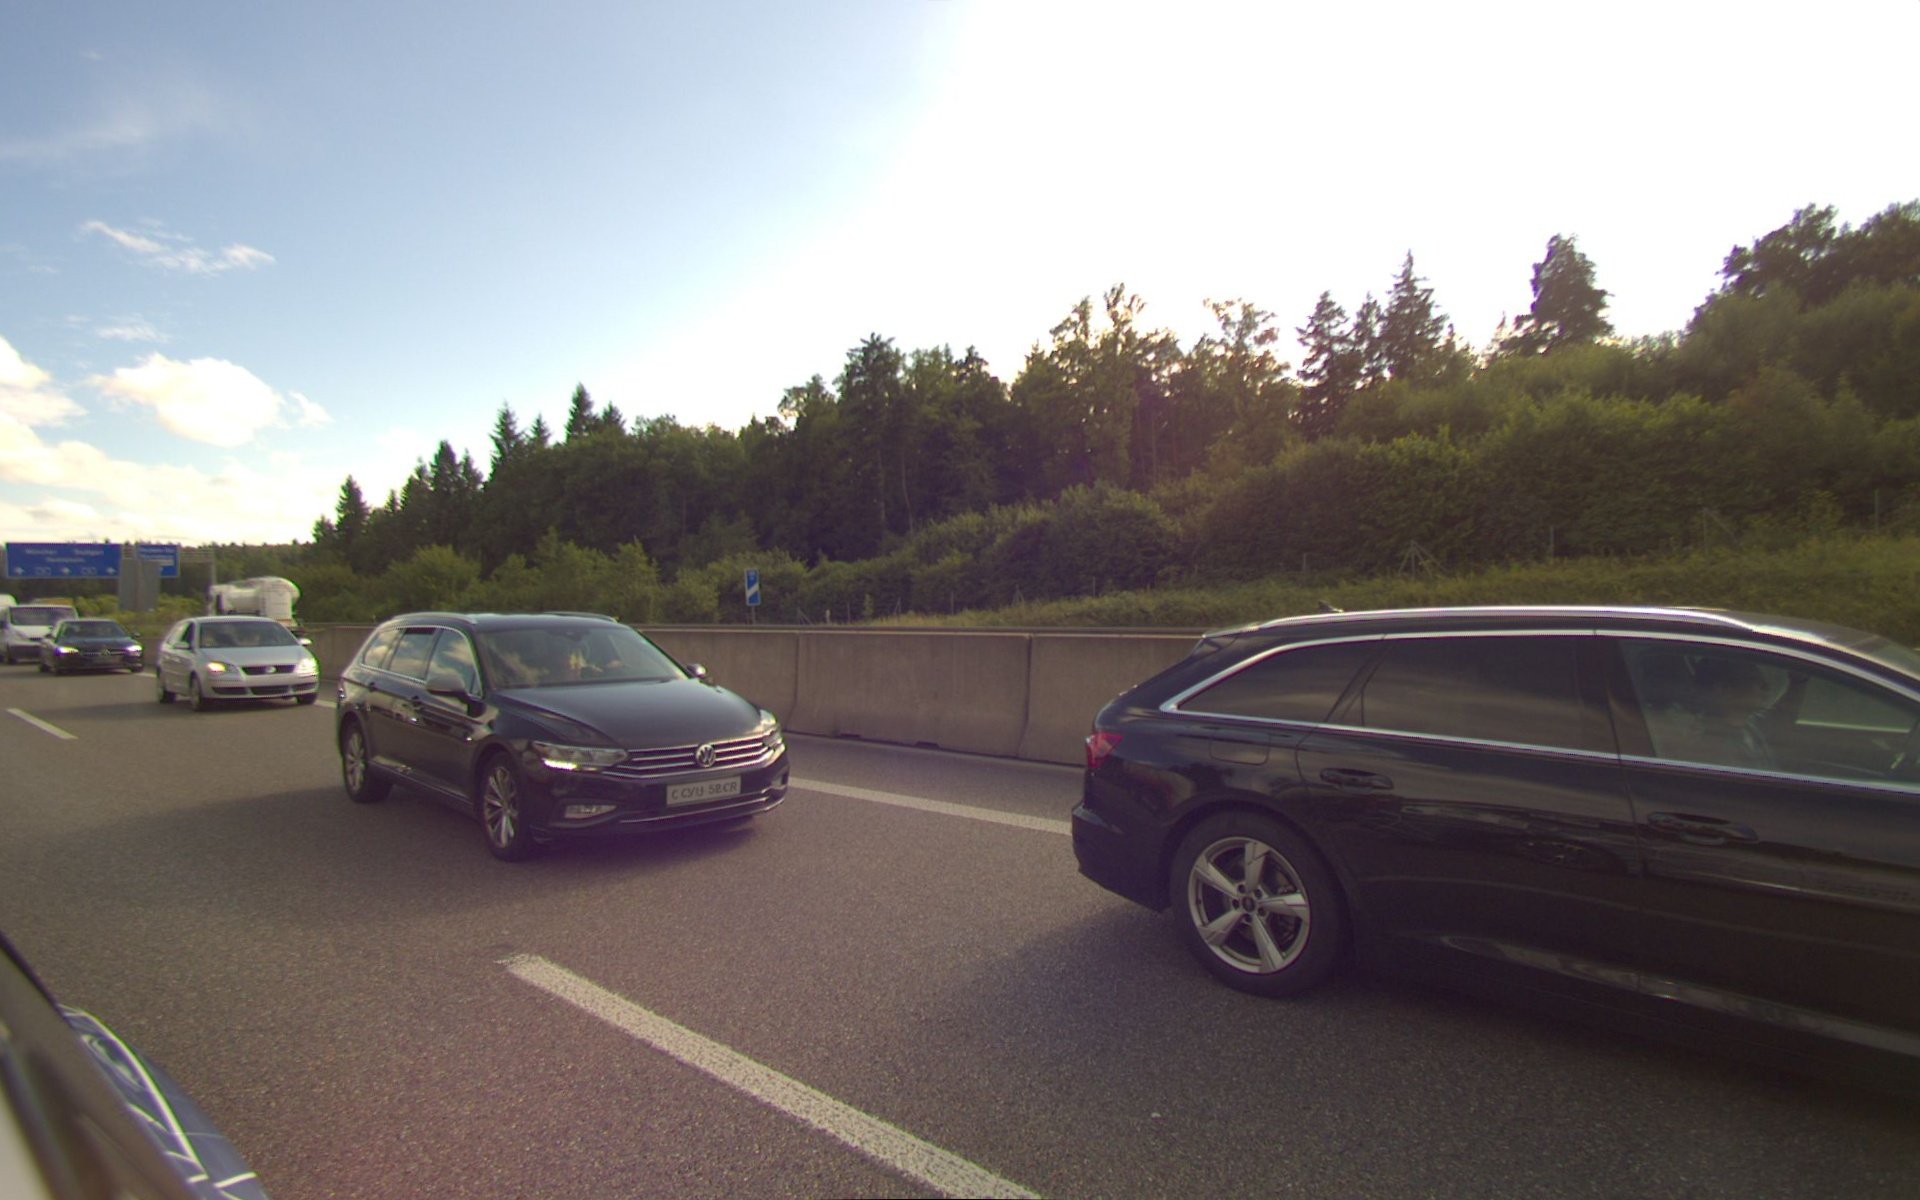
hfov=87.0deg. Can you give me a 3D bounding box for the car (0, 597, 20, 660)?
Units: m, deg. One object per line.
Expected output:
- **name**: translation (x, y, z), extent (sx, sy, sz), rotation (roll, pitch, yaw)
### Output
- **car**: translation (-41.672, 1.204, 42.972), extent (5.860, 2.591, 2.027), rotation (-1, -2, 42)

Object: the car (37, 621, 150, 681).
- **car**: translation (-23.160, 1.311, 26.994), extent (3.993, 1.442, 1.785), rotation (-1, 0, 42)

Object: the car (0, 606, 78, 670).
- **car**: translation (-31.026, 1.216, 33.687), extent (4.846, 1.980, 1.922), rotation (-1, -1, 42)

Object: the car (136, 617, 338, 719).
- **car**: translation (-12.211, 1.041, 16.969), extent (4.665, 1.442, 1.785), rotation (-1, 0, 42)

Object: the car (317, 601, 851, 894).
- **car**: translation (-2.996, 0.786, 7.422), extent (4.569, 1.488, 1.890), rotation (-1, -1, 44)

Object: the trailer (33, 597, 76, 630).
- **trailer**: translation (-123.320, 1.844, 137.778), extent (13.557, 4.234, 2.804), rotation (-1, 0, 42)

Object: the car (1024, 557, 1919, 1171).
- **car**: translation (2.689, 0.636, 3.361), extent (4.851, 1.483, 1.862), rotation (-1, 0, 43)

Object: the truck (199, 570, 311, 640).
- **truck**: translation (-48.097, 0.336, 68.764), extent (13.903, 4.387, 2.902), rotation (-1, 0, 41)
